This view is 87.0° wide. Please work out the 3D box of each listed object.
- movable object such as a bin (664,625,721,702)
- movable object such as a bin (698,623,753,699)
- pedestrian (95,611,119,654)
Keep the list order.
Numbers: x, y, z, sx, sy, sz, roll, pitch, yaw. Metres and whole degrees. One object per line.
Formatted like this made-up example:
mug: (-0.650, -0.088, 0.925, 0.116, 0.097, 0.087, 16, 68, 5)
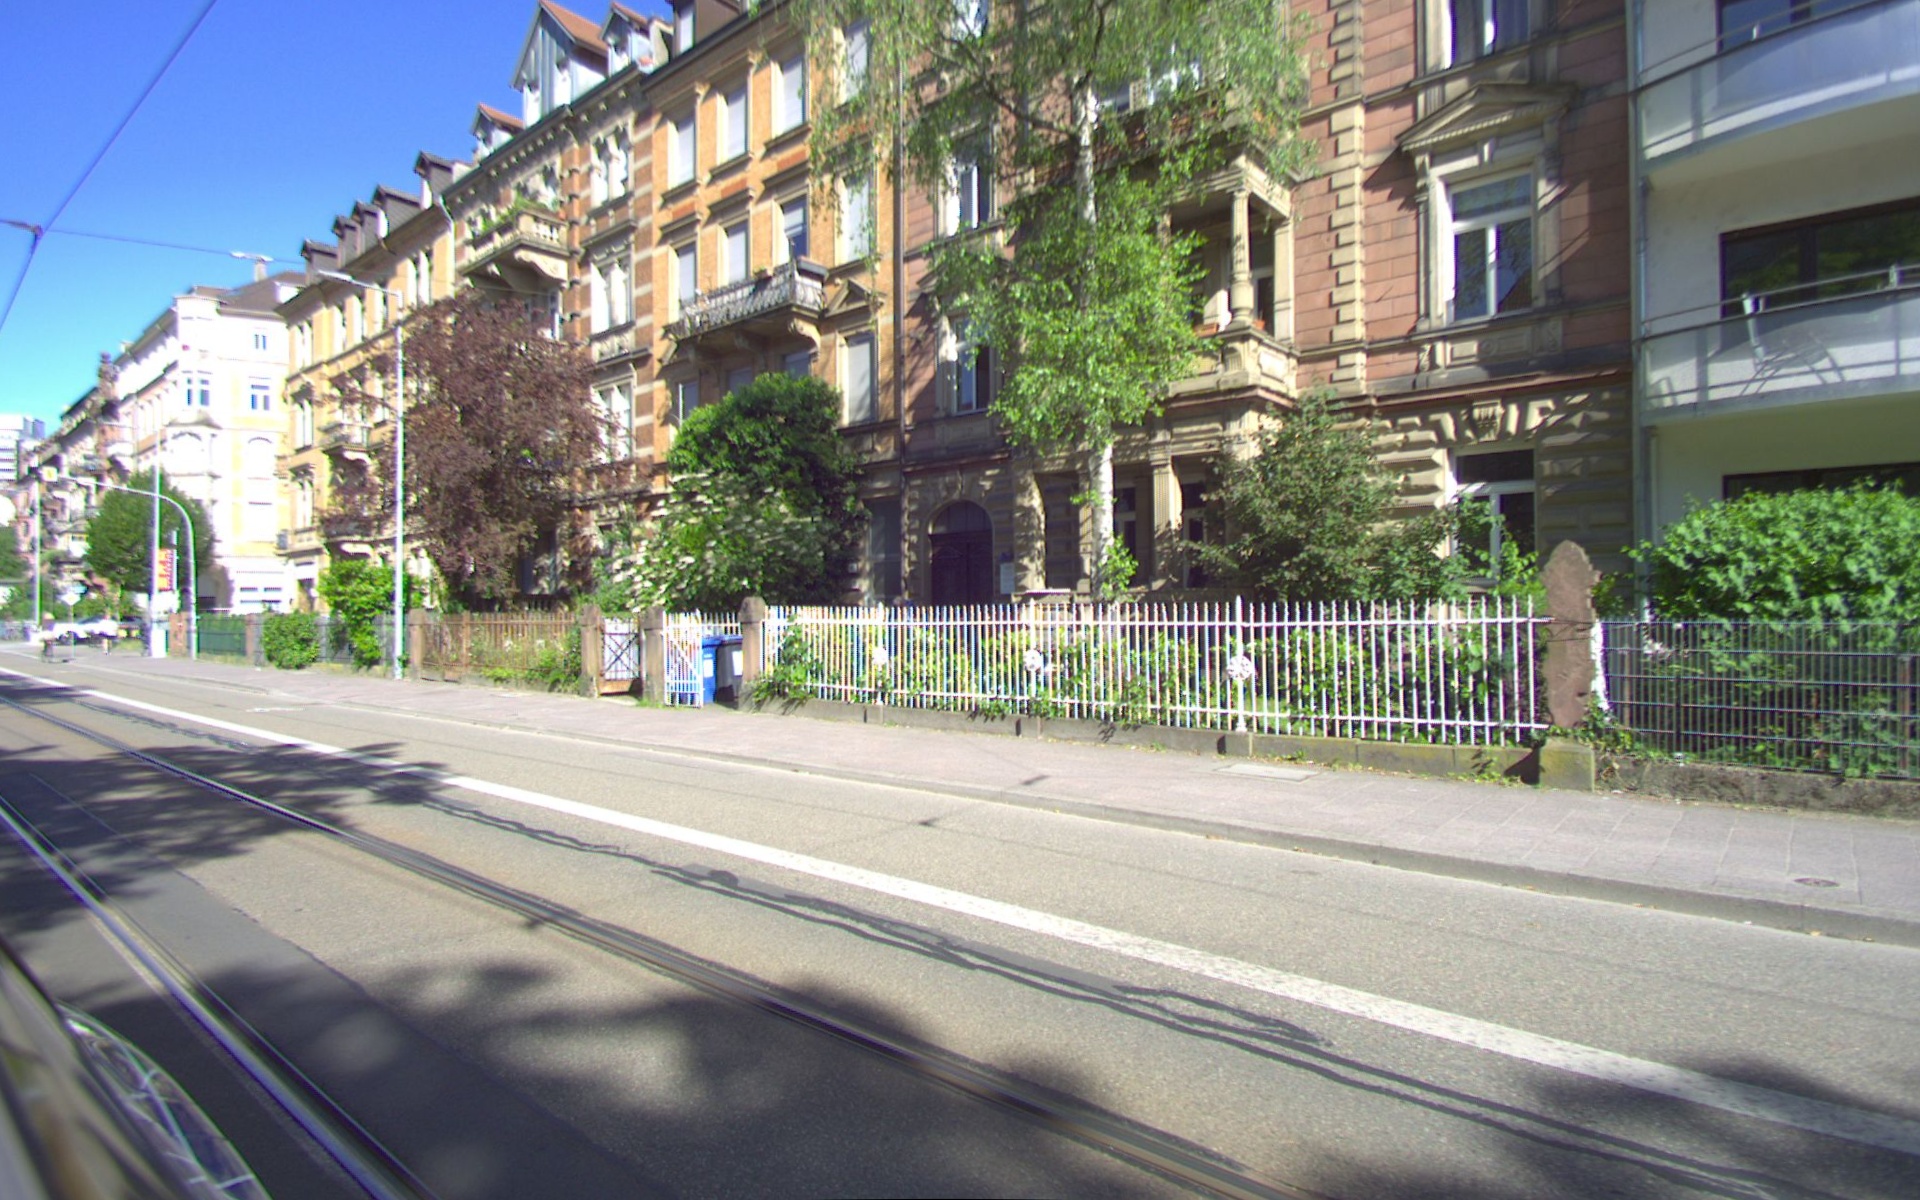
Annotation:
movable object such as a bin: (-4.233, 0.987, 15.999, 0.664, 1.184, 0.583, -1, -1, 36)
movable object such as a bin: (-3.839, 0.982, 16.557, 0.664, 1.184, 0.583, -1, -1, 36)
pedestrian: (-36.926, 1.400, 43.828, 0.798, 1.850, 0.755, 0, -1, -41)
